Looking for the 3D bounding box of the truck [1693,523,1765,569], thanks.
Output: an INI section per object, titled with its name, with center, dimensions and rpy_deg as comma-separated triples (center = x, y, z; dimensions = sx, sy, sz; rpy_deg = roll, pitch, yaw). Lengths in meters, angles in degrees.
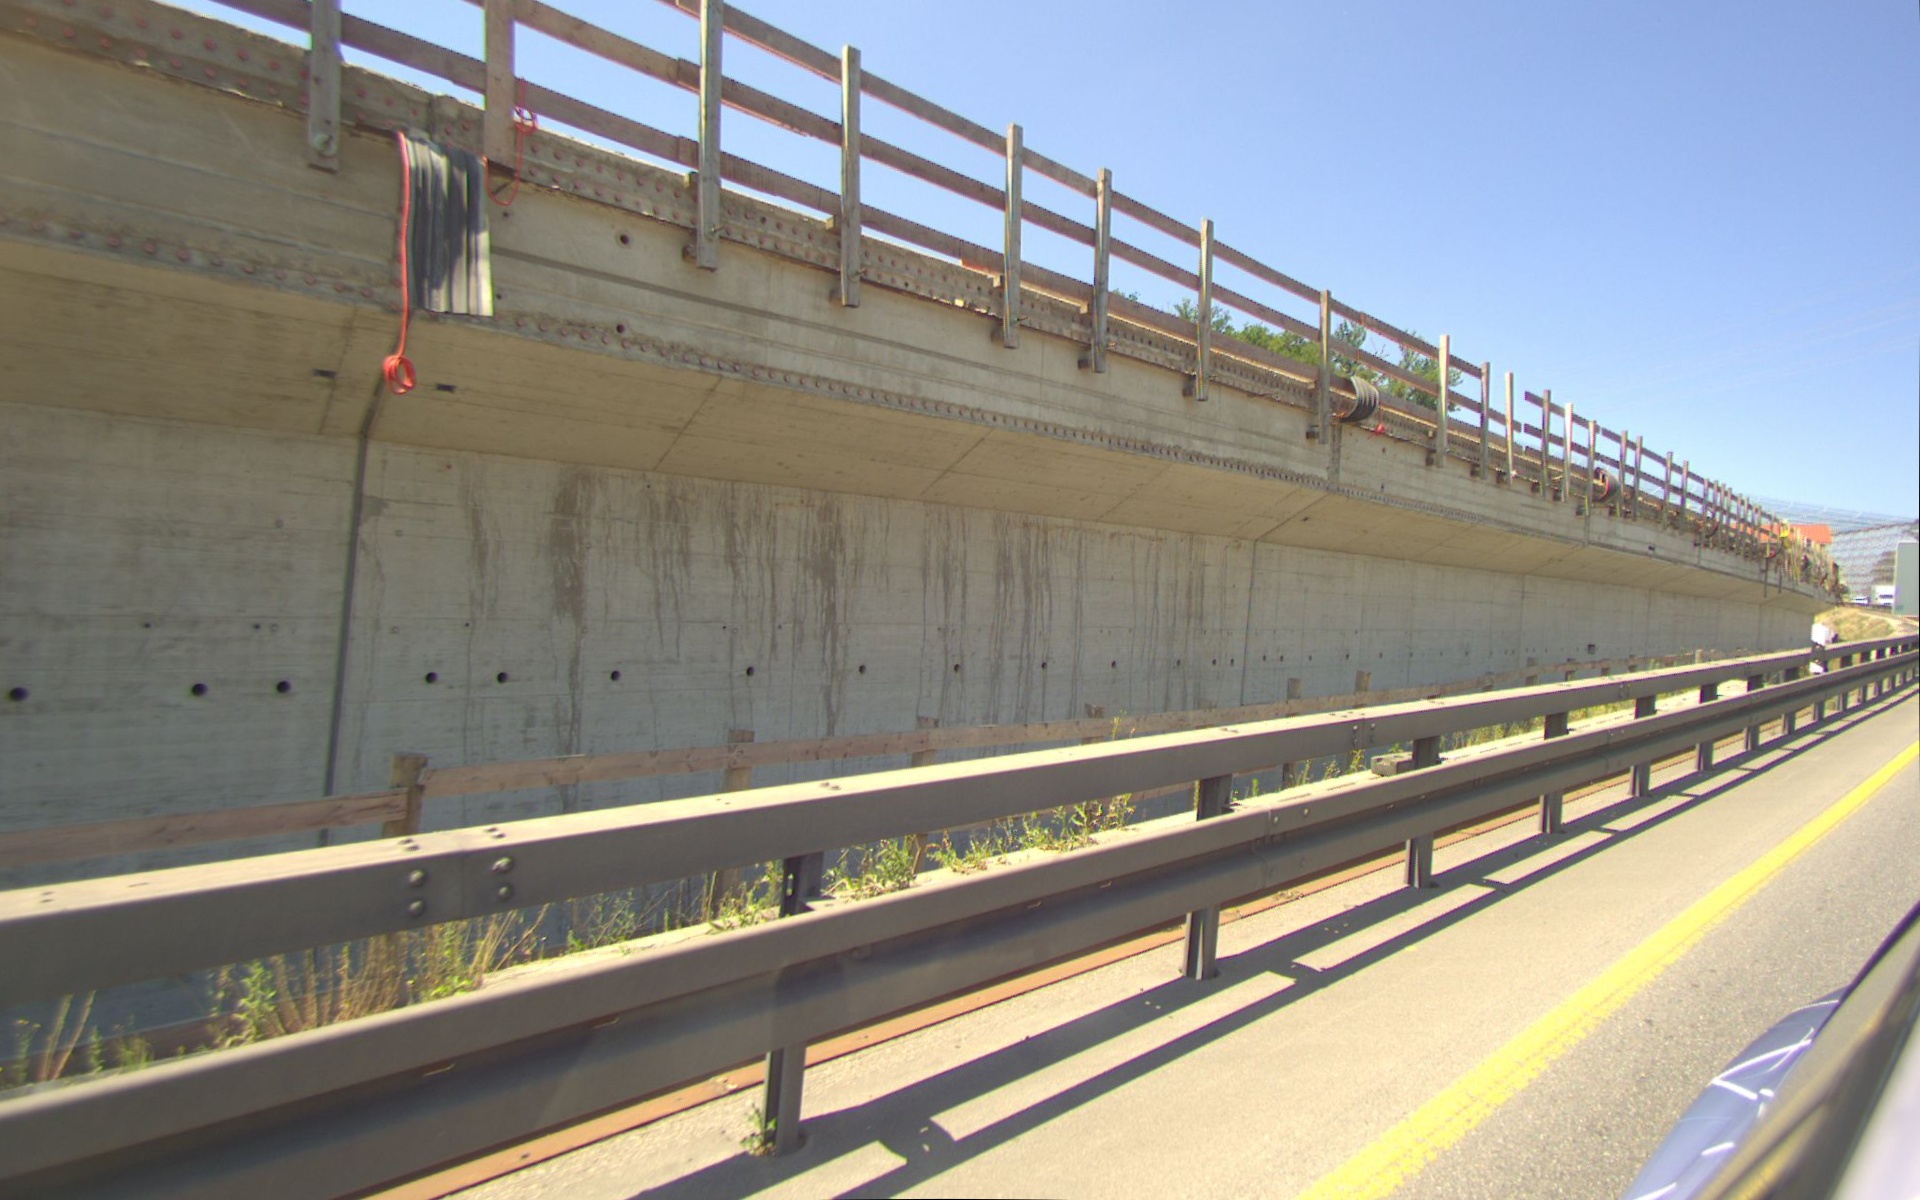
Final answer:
[truck]
center = 68.808, -4.784, 90.525
dimensions = 5.592, 3.741, 2.725
rpy_deg = 3, 0, -24
